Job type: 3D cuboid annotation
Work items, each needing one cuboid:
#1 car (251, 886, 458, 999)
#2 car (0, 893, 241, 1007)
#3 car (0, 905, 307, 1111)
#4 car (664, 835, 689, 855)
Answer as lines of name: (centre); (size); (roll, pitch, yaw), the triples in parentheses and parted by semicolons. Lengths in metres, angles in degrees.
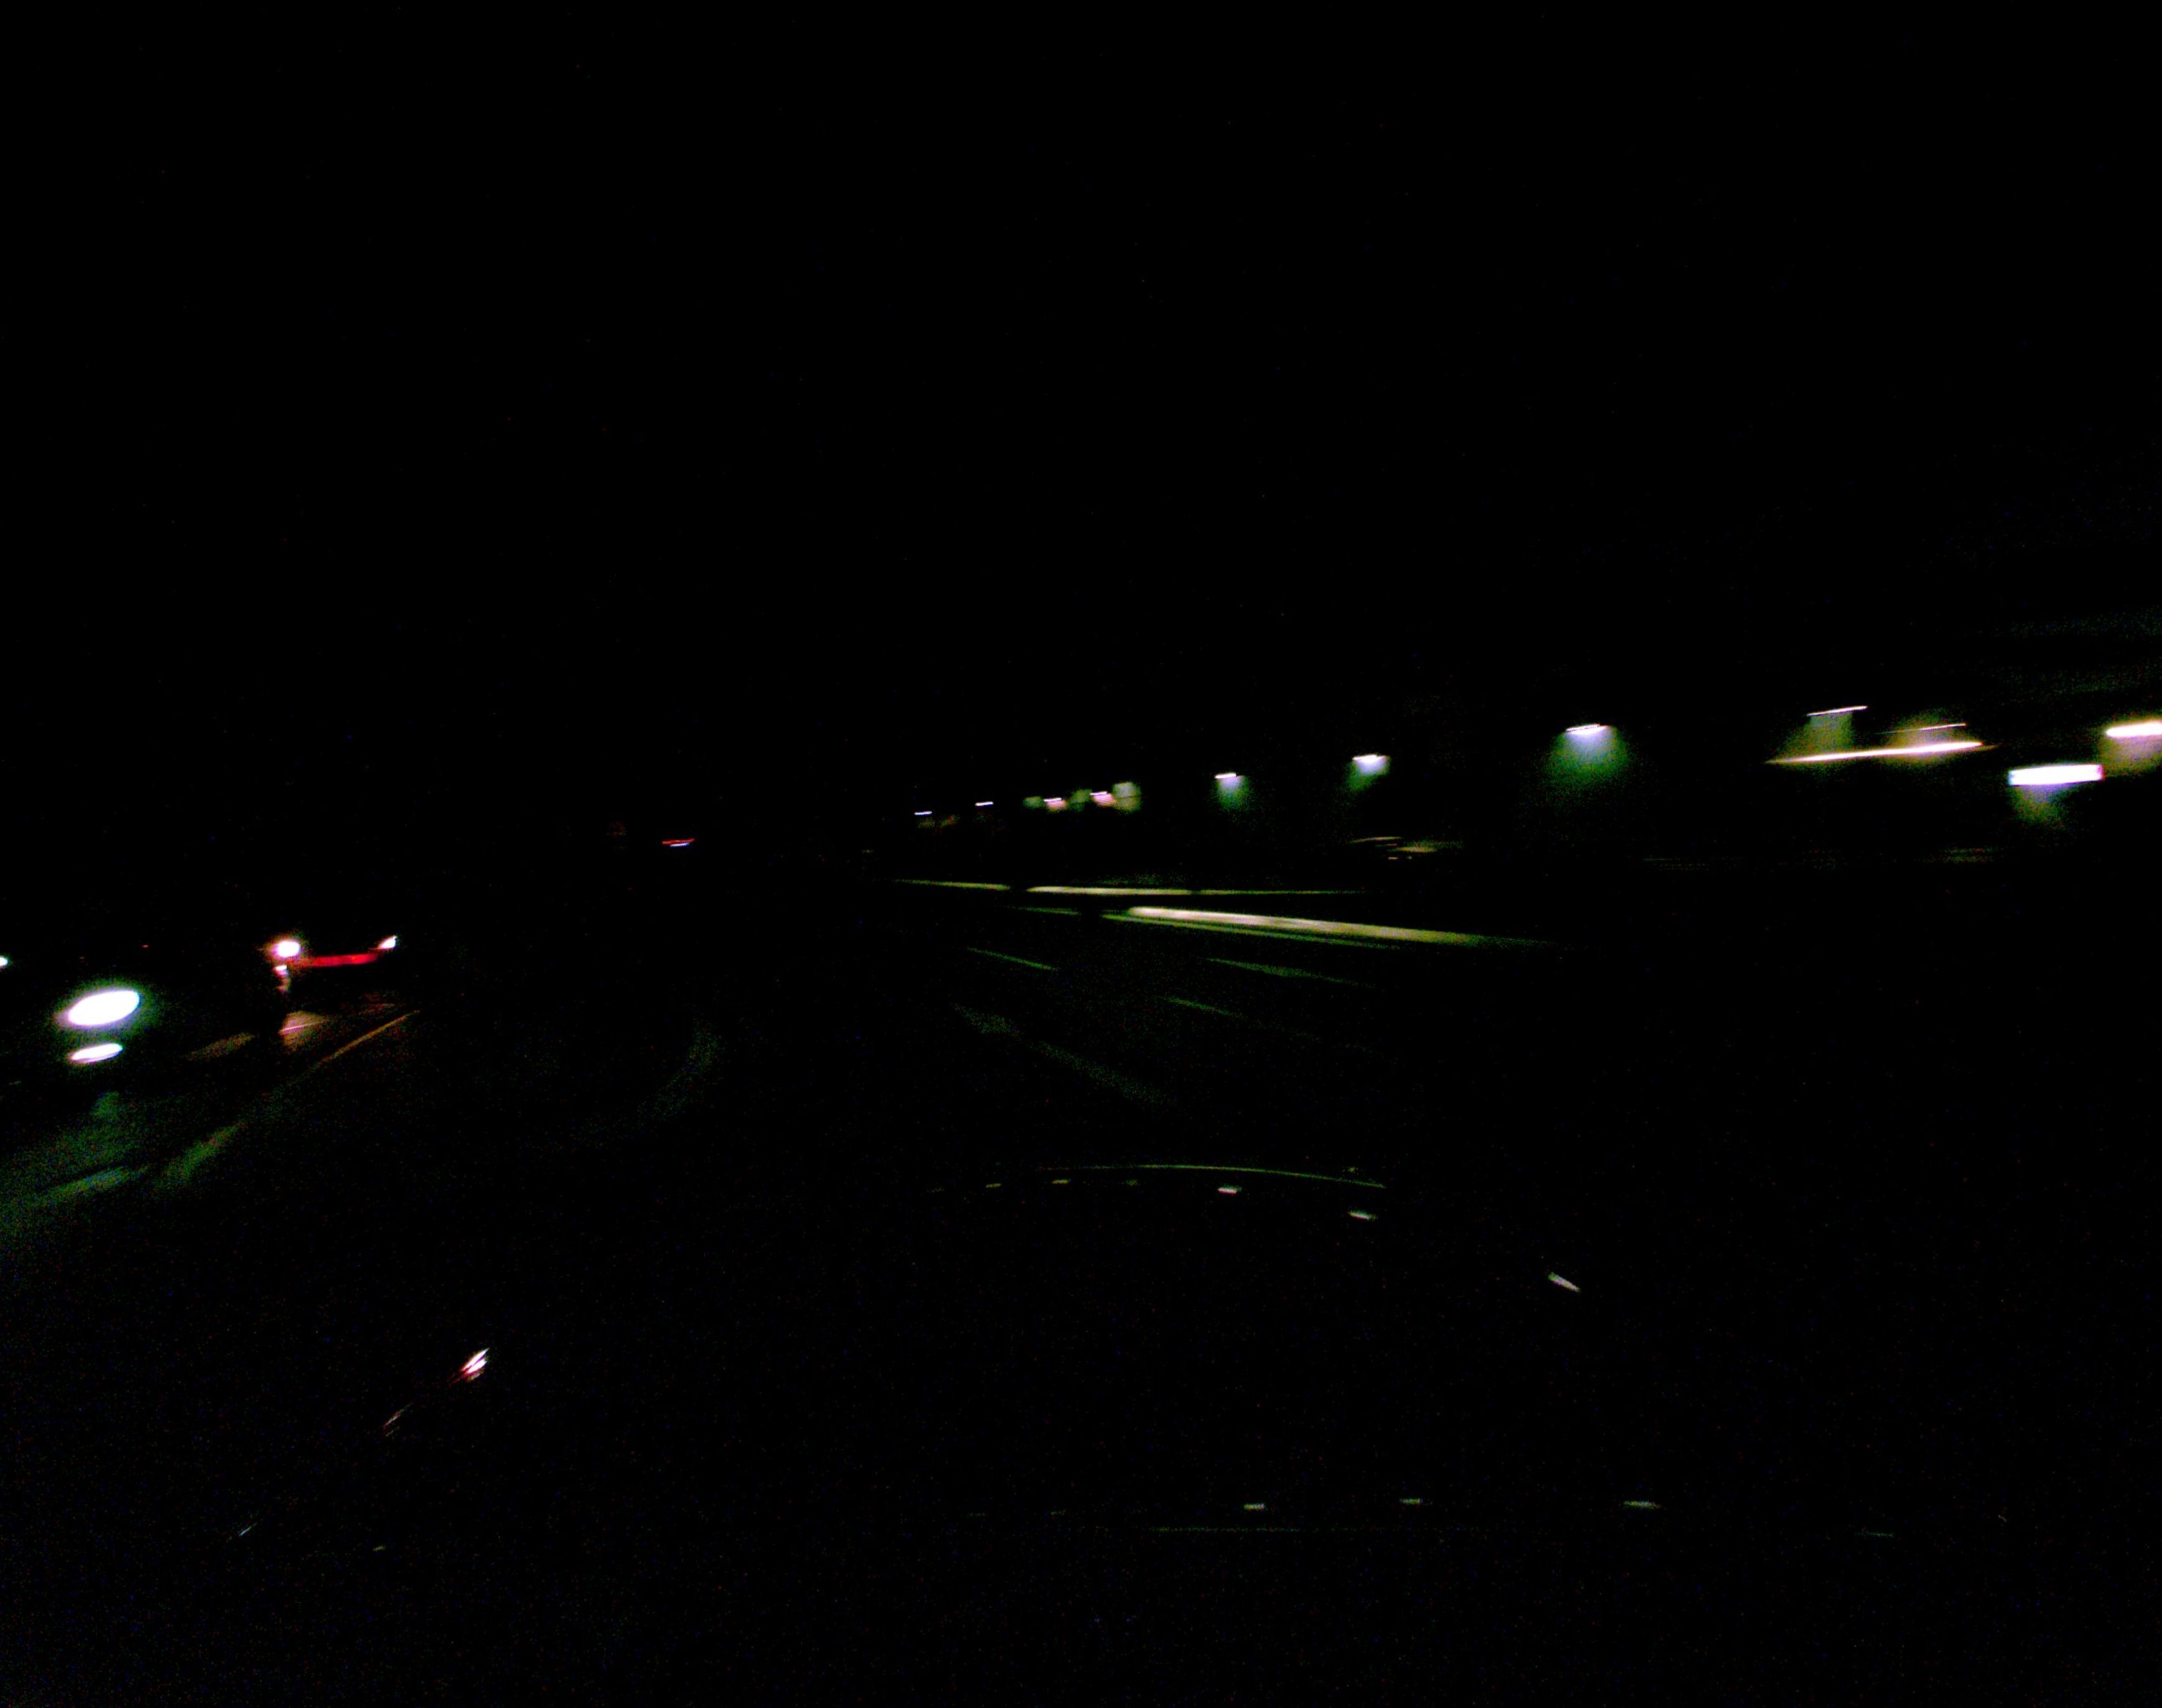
car: (-12.829, 1.448, 14.687); (1.719, 1.444, 3.951); (-3, 2, -26)
car: (-16.880, 1.567, 14.301); (1.693, 1.459, 3.780); (-4, 2, -26)
car: (-9.508, 1.338, 8.034); (1.709, 1.474, 3.835); (-2, -1, -28)
car: (-42.876, -0.983, 86.205); (2.007, 2.013, 3.961); (-2, 2, -31)
